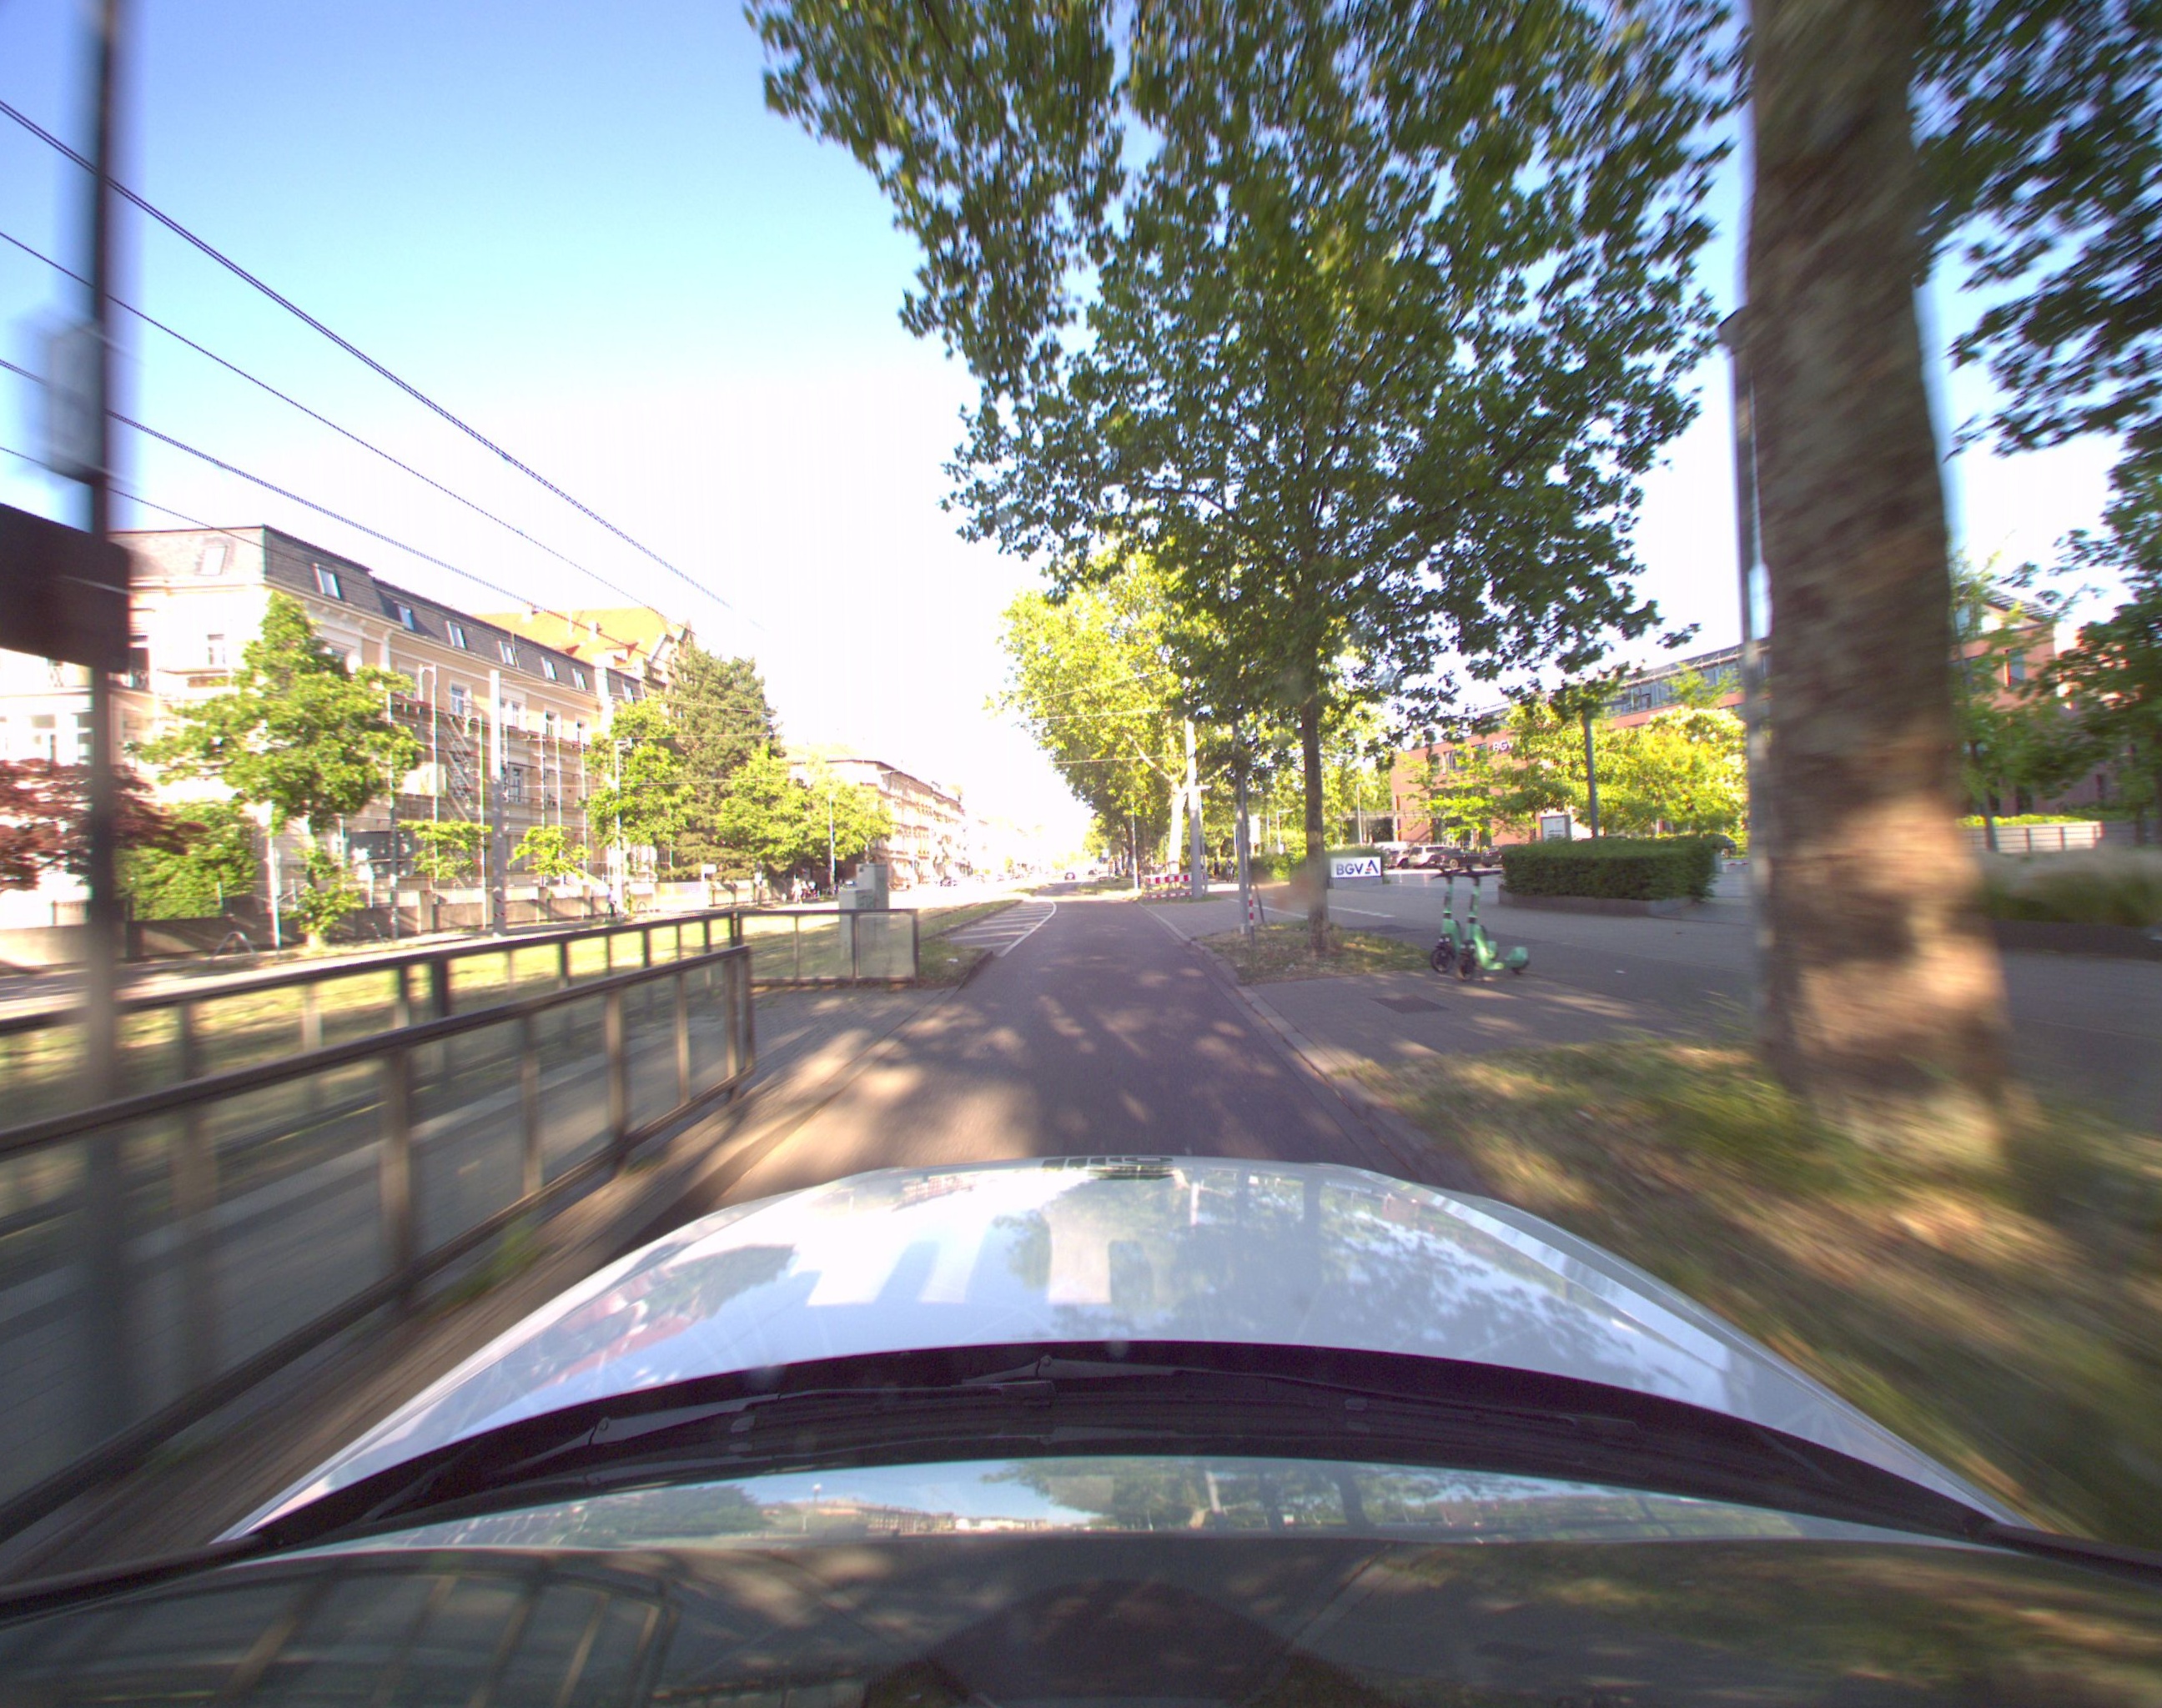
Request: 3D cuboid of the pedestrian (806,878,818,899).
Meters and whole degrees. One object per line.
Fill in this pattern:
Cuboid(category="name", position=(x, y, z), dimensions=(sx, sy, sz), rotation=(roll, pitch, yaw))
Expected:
Cuboid(category="pedestrian", position=(-22.991, 2.932, 69.550), dimensions=(0.648, 1.775, 0.888), rotation=(-4, -1, 0))

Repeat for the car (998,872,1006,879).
Cuboid(category="car", position=(-18.044, 4.864, 185.815), dimensions=(1.521, 1.561, 3.224), rotation=(0, 0, 1))

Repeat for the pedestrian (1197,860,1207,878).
Cuboid(category="pedestrian", position=(10.772, 1.348, 72.556), dimensions=(0.647, 1.539, 0.783), rotation=(-4, -1, 1))

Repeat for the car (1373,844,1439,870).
Cuboid(category="car", position=(25.170, 0.211, 63.115), dimensions=(4.686, 1.713, 1.836), rotation=(-4, 0, -20))

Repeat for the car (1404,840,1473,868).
Cuboid(category="car", position=(26.445, 0.012, 60.249), dimensions=(4.686, 1.713, 1.836), rotation=(-4, 0, -20))

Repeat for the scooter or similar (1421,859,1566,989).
Cuboid(category="scooter or similar", position=(4.294, 0.707, 8.551), dimensions=(1.047, 1.244, 0.842), rotation=(-3, -1, 3))

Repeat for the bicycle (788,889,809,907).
Cuboid(category="bicycle", position=(-19.808, 3.057, 57.110), dimensions=(0.772, 1.193, 1.756), rotation=(0, -1, 1))

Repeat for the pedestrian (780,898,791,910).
Cuboid(category="pedestrian", position=(-23.948, 4.070, 65.911), dimensions=(0.648, 0.932, 0.584), rotation=(-3, -1, -2))

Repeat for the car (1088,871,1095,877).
Cuboid(category="car", position=(3.345, 6.128, 255.304), dimensions=(1.990, 1.860, 3.992), rotation=(0, -1, -5))

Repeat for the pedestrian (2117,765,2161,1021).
Cuboid(category="pedestrian", position=(7.280, 0.235, 5.052), dimensions=(0.625, 1.656, 0.740), rotation=(-4, -1, 1))

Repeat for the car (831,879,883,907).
Cuboid(category="car", position=(-16.249, 2.820, 59.439), dimensions=(1.927, 1.919, 4.483), rotation=(0, -2, 9))

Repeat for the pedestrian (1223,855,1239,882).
Cuboid(category="pedestrian", position=(10.207, 0.970, 55.467), dimensions=(0.802, 1.793, 1.110), rotation=(-4, -1, 2))

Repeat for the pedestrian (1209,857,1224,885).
Cuboid(category="pedestrian", position=(9.178, 1.148, 55.339), dimensions=(0.747, 1.793, 1.086), rotation=(-4, -1, 2))

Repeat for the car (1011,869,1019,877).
Cuboid(category="car", position=(-17.916, 5.206, 220.545), dimensions=(1.652, 2.140, 3.526), rotation=(0, 0, 1))

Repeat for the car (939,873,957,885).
Cuboid(category="car", position=(-20.431, 3.788, 125.363), dimensions=(2.008, 1.754, 4.558), rotation=(0, 0, 1))

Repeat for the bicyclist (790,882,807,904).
Cuboid(category="bicyclist", position=(-19.809, 2.719, 57.068), dimensions=(0.772, 1.481, 1.134), rotation=(0, -1, 1))

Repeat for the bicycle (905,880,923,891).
Cuboid(category="bicycle", position=(-19.388, 3.637, 94.398), dimensions=(1.956, 1.040, 0.763), rotation=(-3, 3, -14))

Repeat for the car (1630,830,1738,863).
Cuboid(category="car", position=(30.565, -0.377, 41.308), dimensions=(4.684, 1.485, 2.060), rotation=(-2, 0, -18))

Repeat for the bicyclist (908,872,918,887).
Cuboid(category="bicyclist", position=(-19.467, 2.957, 94.351), dimensions=(0.920, 1.715, 0.763), rotation=(-3, 3, -14))

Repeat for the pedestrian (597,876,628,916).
Cuboid(category="pedestrian", position=(-23.808, 2.111, 41.400), dimensions=(0.855, 1.928, 1.086), rotation=(-4, -1, 0))

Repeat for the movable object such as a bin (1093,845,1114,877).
Cuboid(category="movable object such as a bin", position=(3.757, 1.280, 139.180), dimensions=(3.077, 5.088, 8.892), rotation=(-5, -1, 1))

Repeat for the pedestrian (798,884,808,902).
Cuboid(category="pedestrian", position=(-25.402, 3.590, 74.482), dimensions=(0.616, 1.593, 0.797), rotation=(0, -1, -1))

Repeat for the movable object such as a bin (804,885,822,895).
Cuboid(category="movable object such as a bin", position=(-24.824, 3.310, 75.564), dimensions=(1.241, 0.865, 1.236), rotation=(0, -2, -1))

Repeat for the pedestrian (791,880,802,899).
Cuboid(category="pedestrian", position=(-24.612, 3.053, 70.480), dimensions=(0.648, 1.539, 0.783), rotation=(-4, -1, 0))

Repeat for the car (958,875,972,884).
Cuboid(category="car", position=(-19.872, 4.304, 139.850), dimensions=(1.770, 1.406, 3.909), rotation=(0, 0, 1))

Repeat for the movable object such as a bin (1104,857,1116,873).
Cuboid(category="movable object such as a bin", position=(5.720, 2.185, 161.315), dimensions=(1.961, 3.013, 4.796), rotation=(-5, -1, 1))

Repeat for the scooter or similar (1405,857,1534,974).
Cuboid(category="scooter or similar", position=(4.465, 0.689, 9.442), dimensions=(1.047, 1.244, 0.842), rotation=(-3, -1, 3))

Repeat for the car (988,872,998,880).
Cuboid(category="car", position=(-18.916, 4.676, 175.524), dimensions=(1.735, 1.561, 3.768), rotation=(0, 0, 1))

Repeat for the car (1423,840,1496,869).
Cuboid(category="car", position=(26.644, 0.055, 57.331), dimensions=(4.686, 1.713, 1.836), rotation=(-4, 0, -20))

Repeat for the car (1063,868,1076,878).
Cuboid(category="car", position=(-1.935, 3.169, 138.533), dimensions=(1.986, 1.684, 4.001), rotation=(0, -1, 1))

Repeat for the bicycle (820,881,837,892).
Cuboid(category="bicycle", position=(-28.831, 3.689, 93.122), dimensions=(0.780, 1.179, 2.248), rotation=(-1, -1, 13))

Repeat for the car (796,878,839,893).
Cuboid(category="car", position=(-27.494, 3.294, 85.076), dimensions=(4.138, 1.471, 2.012), rotation=(-2, -2, 30))

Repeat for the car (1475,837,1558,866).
Cuboid(category="car", position=(28.556, -0.165, 53.426), dimensions=(4.684, 1.598, 2.060), rotation=(-4, 0, -18))
